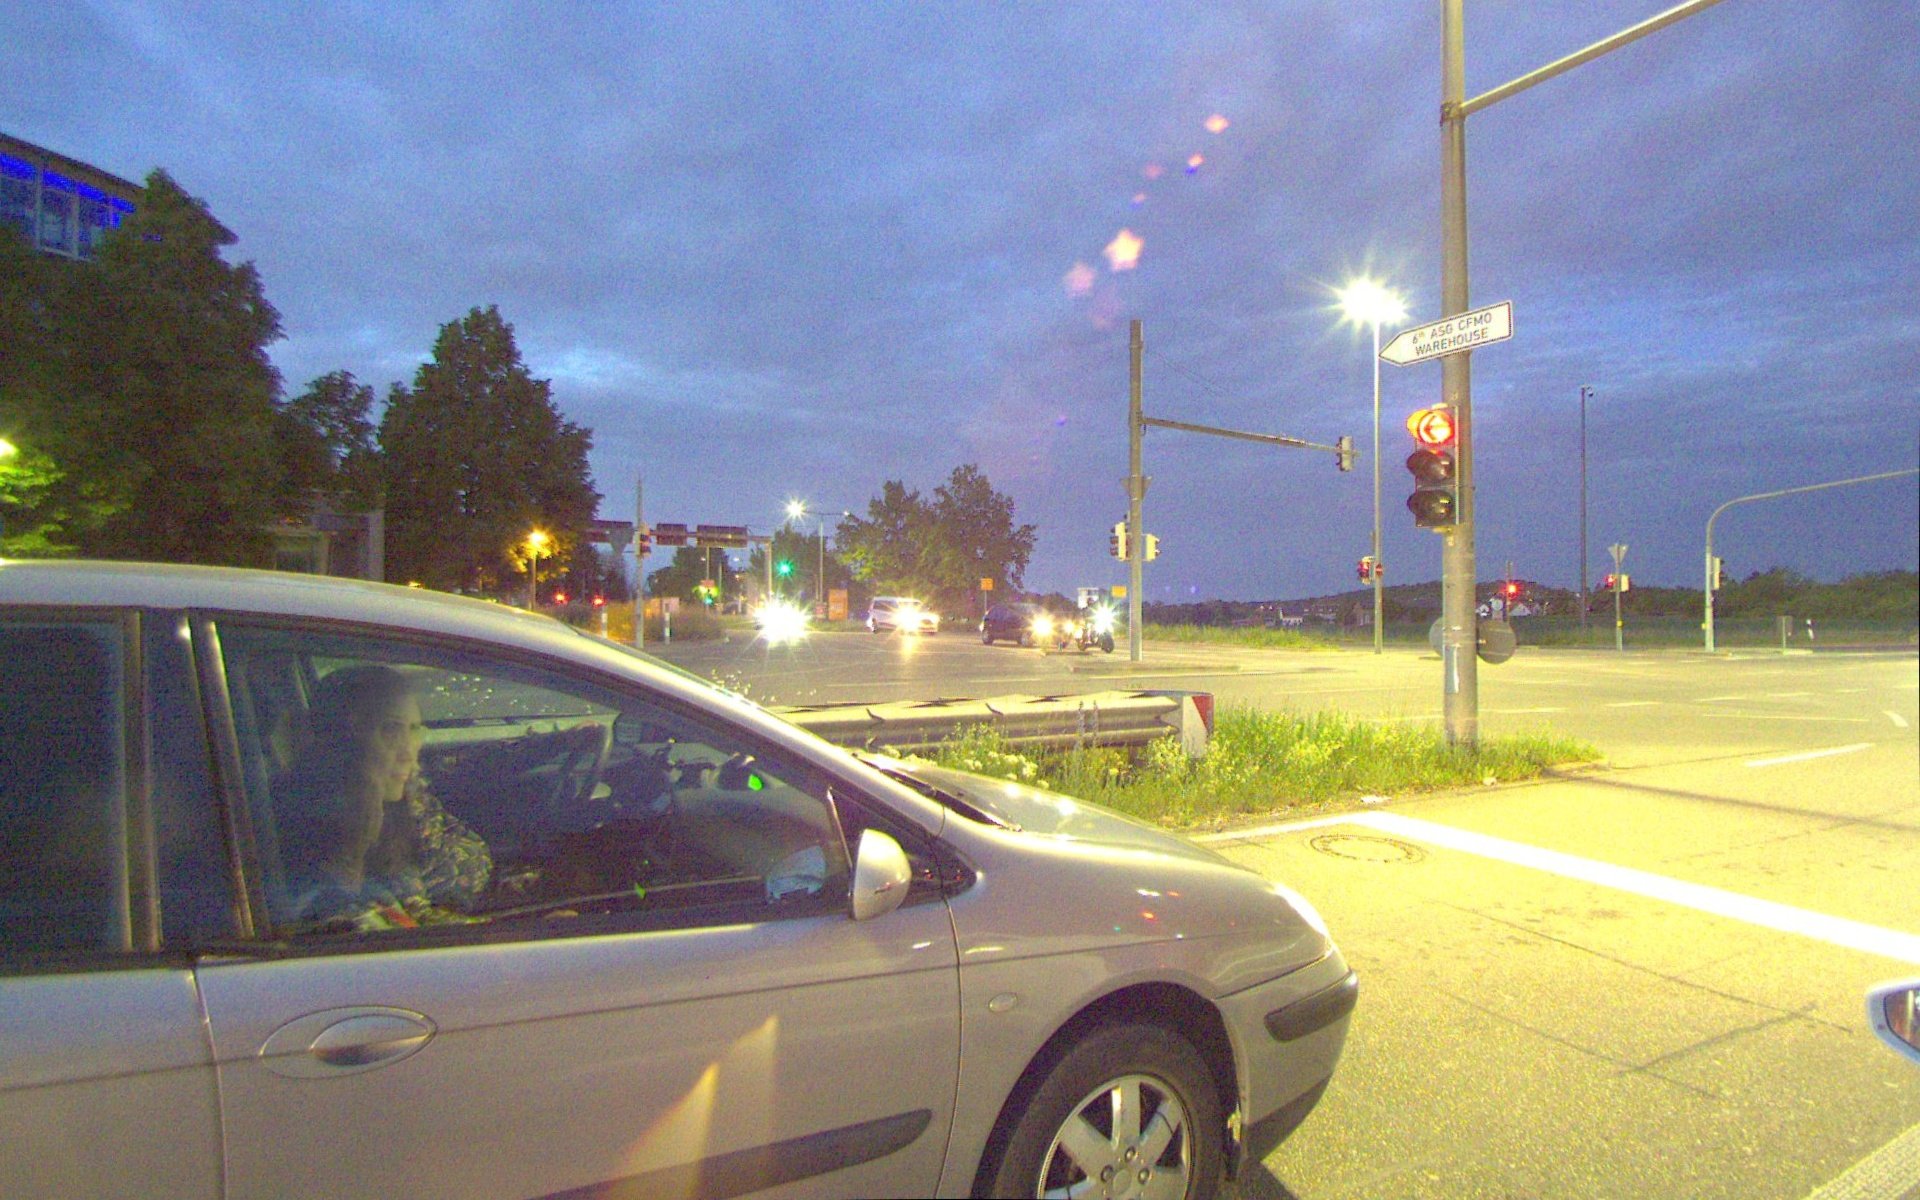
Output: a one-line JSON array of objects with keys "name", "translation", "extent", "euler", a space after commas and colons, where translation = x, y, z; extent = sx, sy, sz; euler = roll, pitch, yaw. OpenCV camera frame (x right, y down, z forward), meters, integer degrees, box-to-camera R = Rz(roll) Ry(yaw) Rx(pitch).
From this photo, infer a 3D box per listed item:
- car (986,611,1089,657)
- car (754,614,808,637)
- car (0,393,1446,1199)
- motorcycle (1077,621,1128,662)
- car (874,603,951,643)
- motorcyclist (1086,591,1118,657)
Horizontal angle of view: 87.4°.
[{"name": "car", "translation": [2.622, 1.128, 34.632], "extent": [1.754, 1.467, 3.751], "euler": [1, -1, -30]}, {"name": "car", "translation": [-11.649, 1.666, 65.218], "extent": [1.856, 1.416, 4.798], "euler": [2, -1, -31]}, {"name": "car", "translation": [-1.136, 0.605, 2.053], "extent": [4.358, 1.675, 1.658], "euler": [1, 0, -30]}, {"name": "motorcycle", "translation": [4.388, 1.260, 31.036], "extent": [0.664, 1.179, 1.797], "euler": [1, 0, -25]}, {"name": "car", "translation": [-2.408, 1.100, 49.561], "extent": [1.827, 1.838, 4.737], "euler": [1, -1, -29]}, {"name": "motorcyclist", "translation": [4.426, 0.745, 31.324], "extent": [0.628, 2.040, 0.763], "euler": [1, 0, -25]}]
